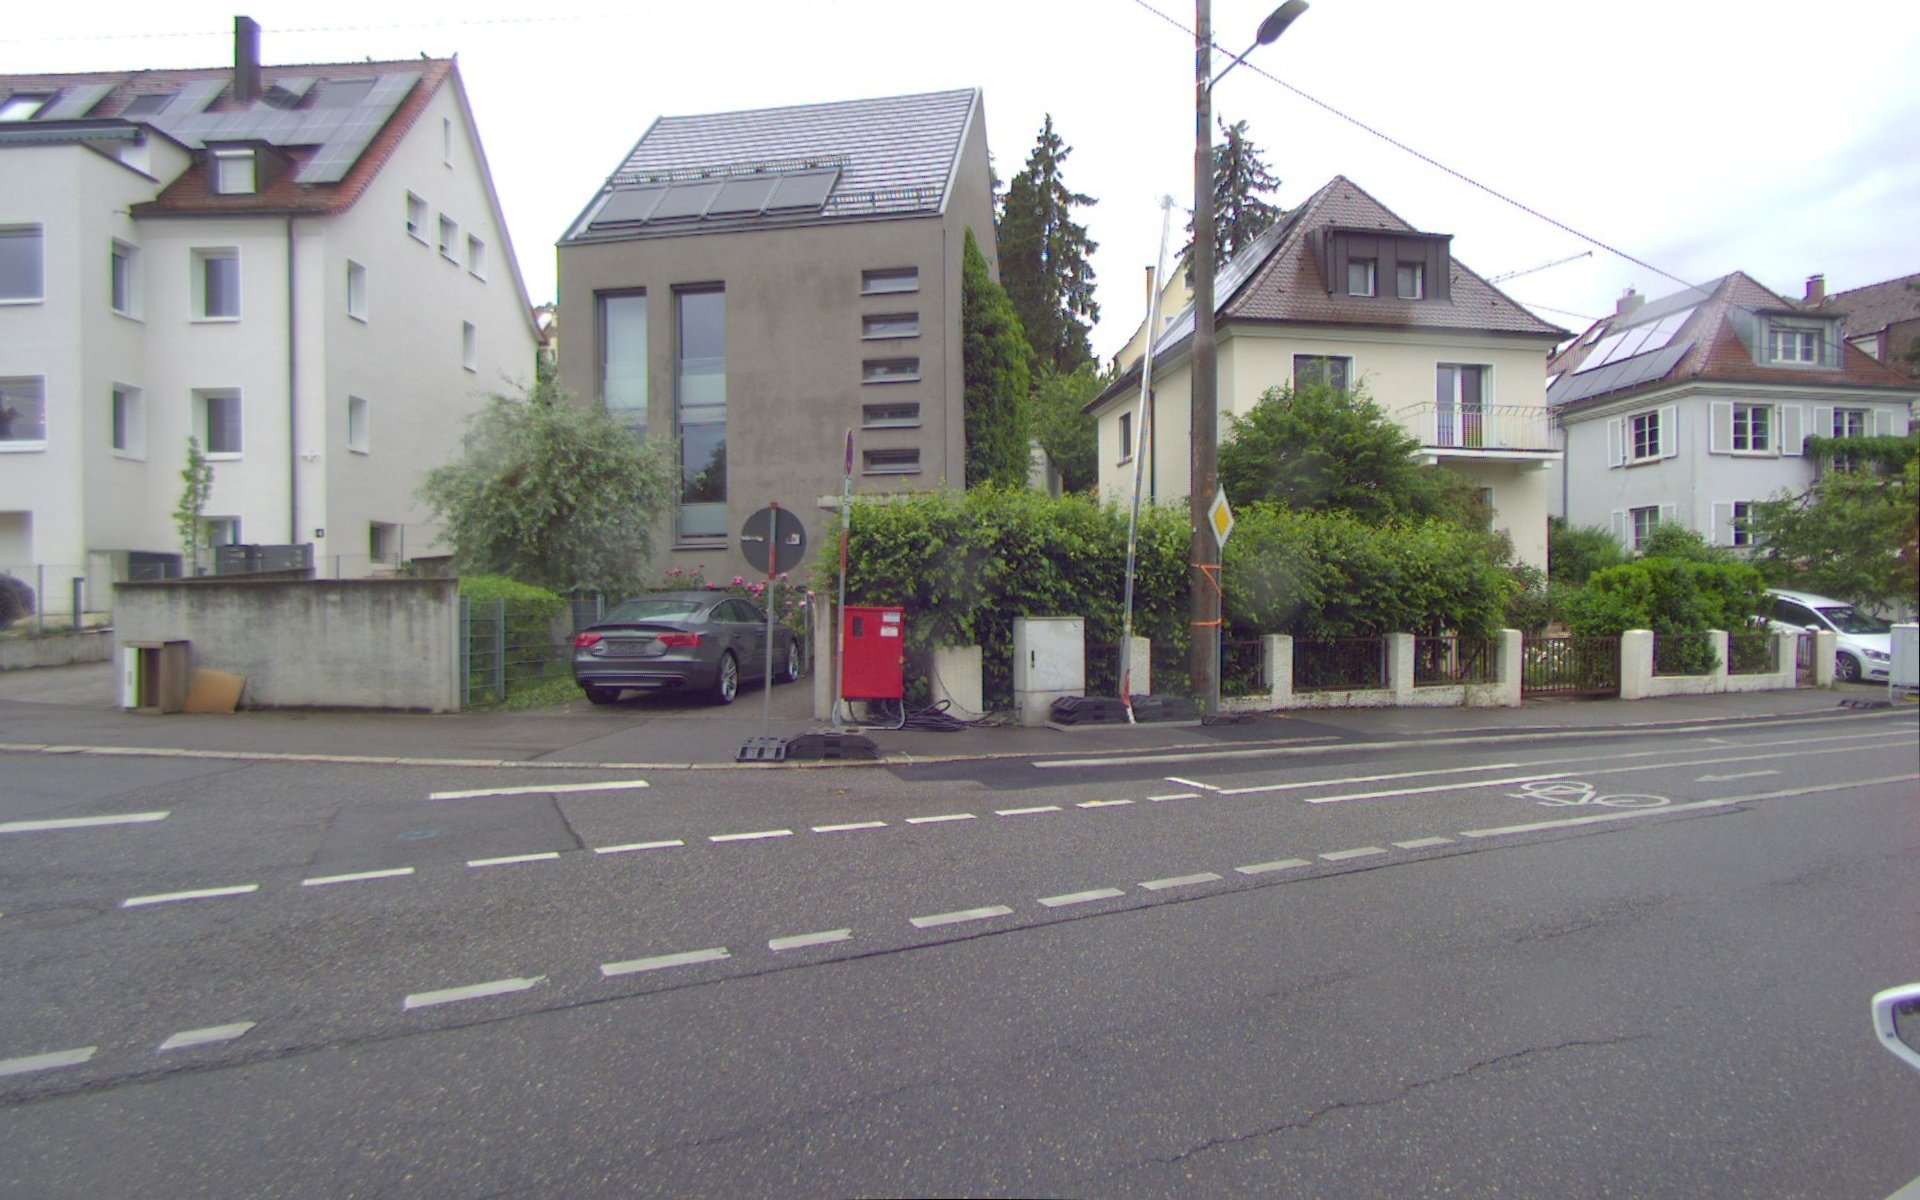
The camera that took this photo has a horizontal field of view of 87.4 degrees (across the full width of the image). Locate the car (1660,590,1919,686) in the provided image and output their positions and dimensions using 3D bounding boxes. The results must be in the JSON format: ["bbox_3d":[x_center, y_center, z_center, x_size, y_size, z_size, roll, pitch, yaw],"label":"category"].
[{"bbox_3d":[19.600,0.813,23.919,1.870,2.033,4.628,1,0,-18],"label":"car"}]

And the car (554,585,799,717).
[{"bbox_3d":[-3.604,0.560,13.582,1.740,1.506,4.002,0,1,7],"label":"car"}]

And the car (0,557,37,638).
[{"bbox_3d":[-16.727,0.046,15.176,1.576,1.298,4.008,2,4,6],"label":"car"}]
